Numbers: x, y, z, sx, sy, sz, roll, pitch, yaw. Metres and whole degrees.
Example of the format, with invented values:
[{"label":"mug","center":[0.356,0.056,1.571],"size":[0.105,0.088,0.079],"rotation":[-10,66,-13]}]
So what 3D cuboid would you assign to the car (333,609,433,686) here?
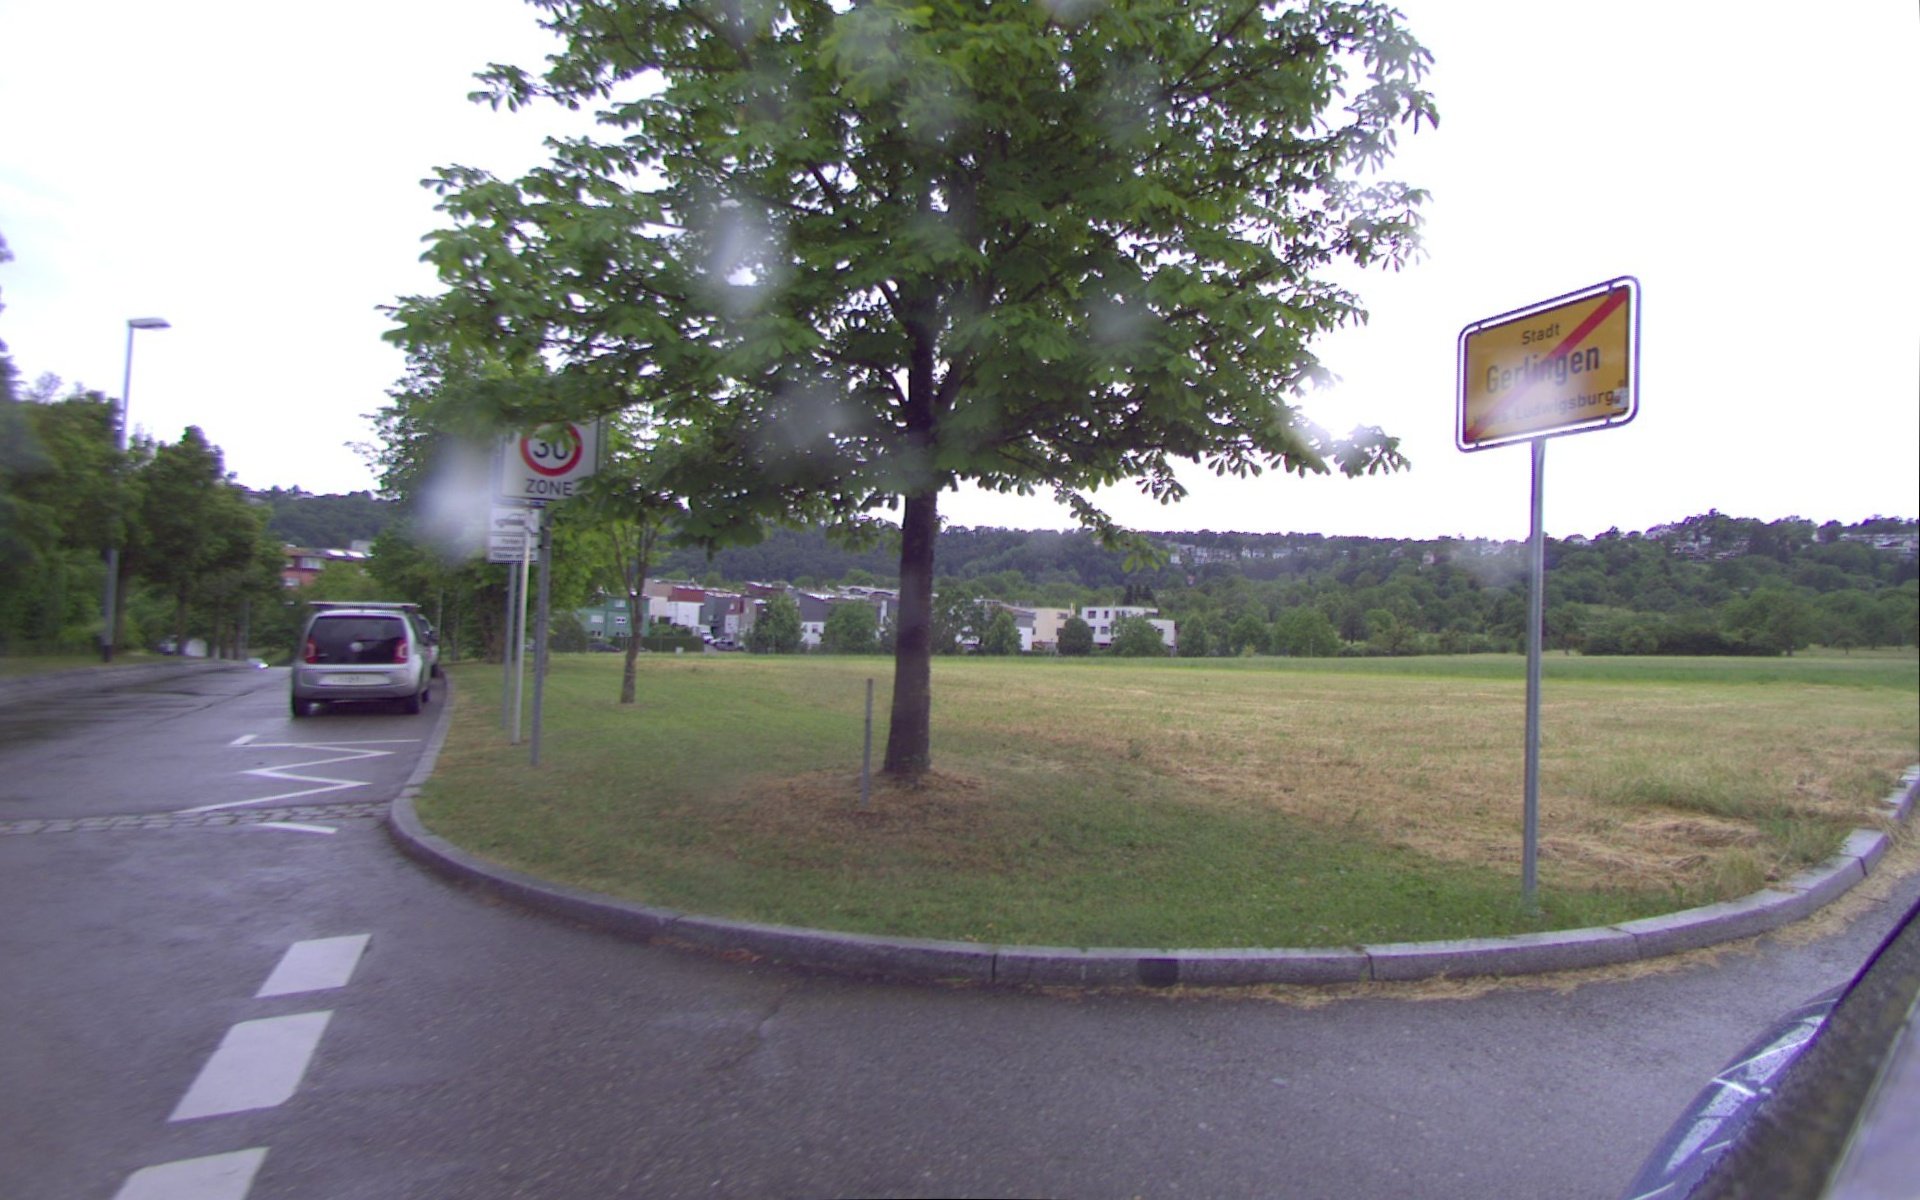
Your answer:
[{"label":"car","center":[-11.769,0.948,20.799],"size":[1.521,1.455,3.016],"rotation":[1,-2,-25]}]

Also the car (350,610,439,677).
[{"label":"car","center":[-14.687,1.127,26.246],"size":[1.815,1.572,3.992],"rotation":[2,-3,-30]}]

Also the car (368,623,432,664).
[{"label":"car","center":[-18.592,1.424,33.563],"size":[1.699,1.298,3.330],"rotation":[2,-2,-31]}]

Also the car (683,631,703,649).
[{"label":"car","center":[-51.578,7.691,195.403],"size":[2.100,3.267,5.087],"rotation":[2,-2,-36]}]

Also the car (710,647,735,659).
[{"label":"car","center":[-42.657,9.491,181.879],"size":[3.926,2.040,1.998],"rotation":[3,-2,-38]}]

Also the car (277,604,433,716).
[{"label":"car","center":[-9.137,0.837,15.552],"size":[1.645,1.498,3.560],"rotation":[1,-1,-25]}]

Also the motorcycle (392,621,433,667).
[{"label":"motorcycle","center":[-16.538,1.336,30.533],"size":[0.951,1.319,2.266],"rotation":[3,-3,-30]}]
